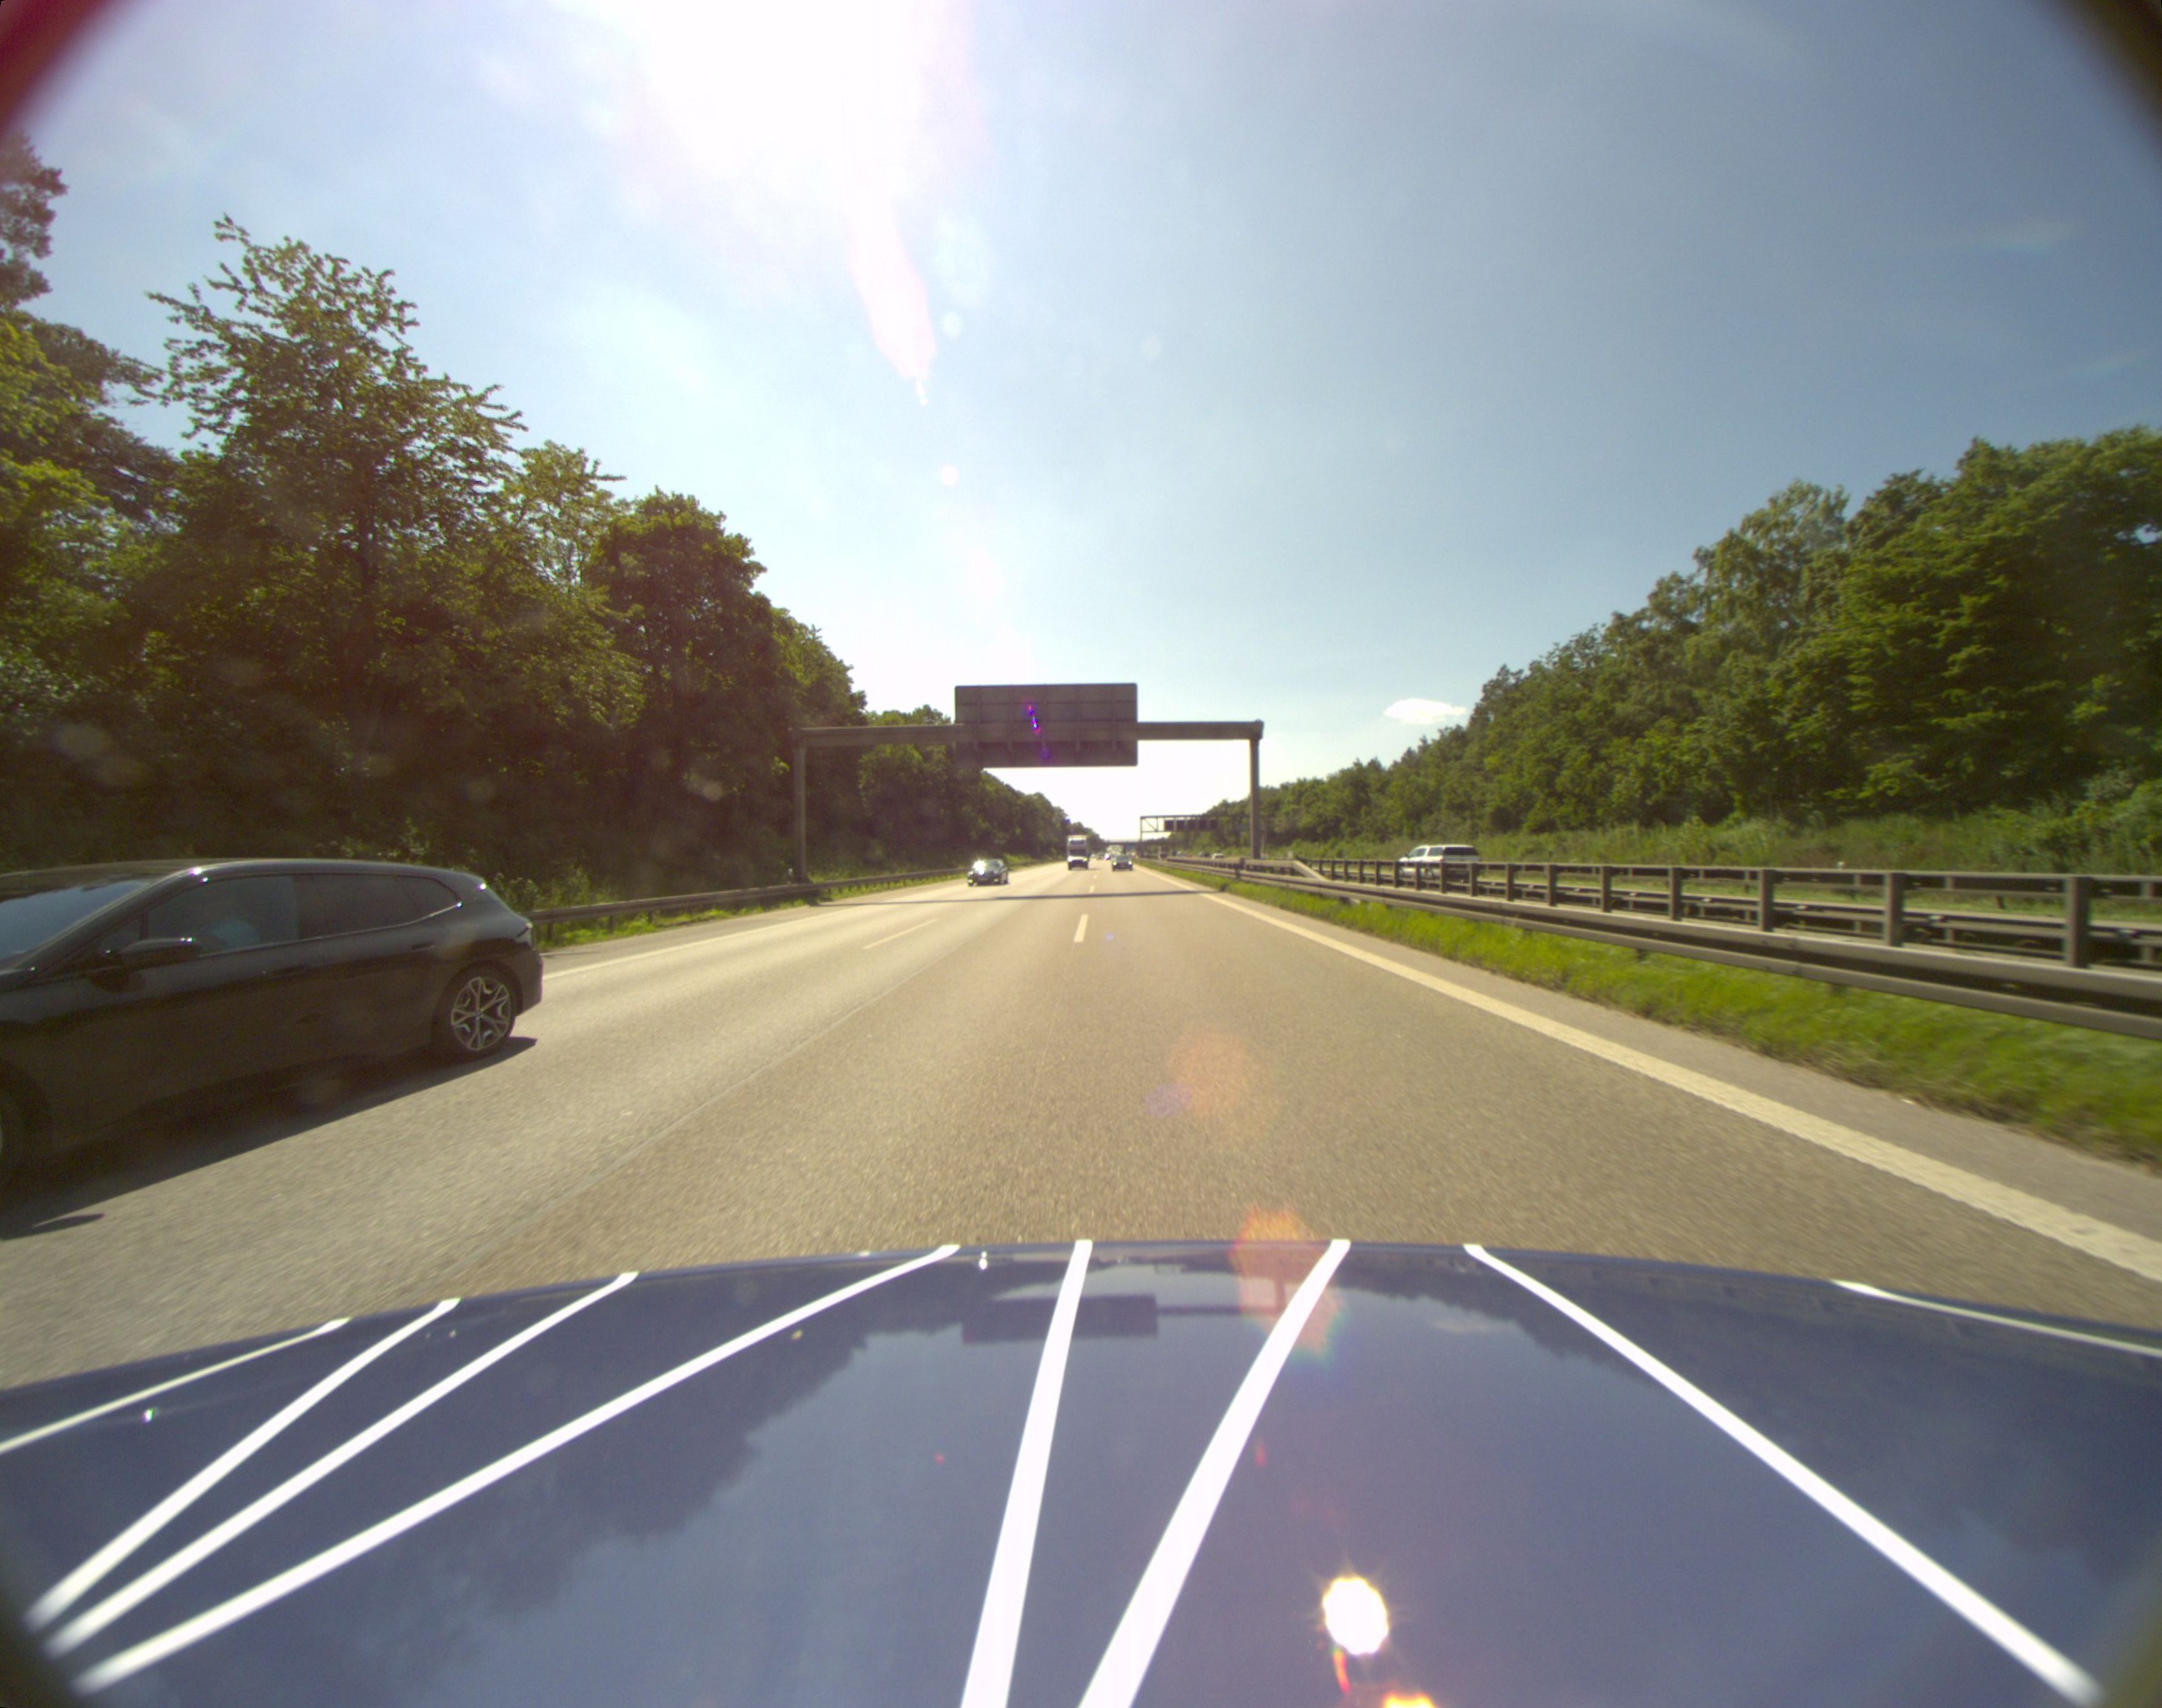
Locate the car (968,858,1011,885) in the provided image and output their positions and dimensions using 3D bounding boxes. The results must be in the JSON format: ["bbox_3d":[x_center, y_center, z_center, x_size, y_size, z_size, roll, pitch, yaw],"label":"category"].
[{"bbox_3d":[-5.151,0.960,43.336,1.916,1.390,4.138,-1,0,0],"label":"car"}]

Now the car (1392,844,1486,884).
[{"bbox_3d":[16.008,0.387,34.328,1.782,1.624,5.540,1,0,2],"label":"car"}]

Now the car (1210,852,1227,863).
[{"bbox_3d":[18.066,0.418,99.785,1.599,1.434,3.542,1,0,0],"label":"car"}]

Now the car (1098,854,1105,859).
[{"bbox_3d":[5.459,0.565,201.586,1.831,1.346,3.679,0,0,1],"label":"car"}]

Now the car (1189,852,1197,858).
[{"bbox_3d":[25.667,0.240,174.449,1.504,1.462,3.399,0,0,1],"label":"car"}]

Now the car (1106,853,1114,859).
[{"bbox_3d":[7.166,0.481,187.034,1.831,1.346,3.679,0,0,1],"label":"car"}]

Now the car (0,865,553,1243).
[{"bbox_3d":[-5.886,0.981,4.578,1.924,1.659,4.687,-2,0,2],"label":"car"}]

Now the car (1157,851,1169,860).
[{"bbox_3d":[15.515,0.209,143.565,1.776,1.624,3.845,-1,0,0],"label":"car"}]

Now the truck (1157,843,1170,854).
[{"bbox_3d":[28.968,-1.918,267.057,3.605,3.847,9.650,-1,0,0],"label":"truck"}]

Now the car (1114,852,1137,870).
[{"bbox_3d":[3.842,0.558,66.188,1.814,1.483,3.728,-1,0,0],"label":"car"}]

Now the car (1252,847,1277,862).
[{"bbox_3d":[17.650,0.056,73.156,1.599,1.434,3.542,1,0,0],"label":"car"}]

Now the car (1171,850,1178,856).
[{"bbox_3d":[26.003,-0.259,211.751,1.659,1.842,3.680,-1,0,0],"label":"car"}]

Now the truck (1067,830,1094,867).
[{"bbox_3d":[-0.010,-0.552,79.333,2.676,3.661,6.483,-1,0,0],"label":"truck"}]

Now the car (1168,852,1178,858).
[{"bbox_3d":[22.351,0.168,184.702,1.776,1.405,3.845,2,0,0],"label":"car"}]

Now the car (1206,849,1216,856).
[{"bbox_3d":[25.015,-0.260,146.208,1.442,1.354,2.726,-1,0,0],"label":"car"}]

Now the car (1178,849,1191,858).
[{"bbox_3d":[20.367,-0.057,149.536,1.949,1.701,3.797,-1,0,0],"label":"car"}]

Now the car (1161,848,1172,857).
[{"bbox_3d":[16.944,-0.322,150.207,1.749,1.701,3.242,-1,0,0],"label":"car"}]
